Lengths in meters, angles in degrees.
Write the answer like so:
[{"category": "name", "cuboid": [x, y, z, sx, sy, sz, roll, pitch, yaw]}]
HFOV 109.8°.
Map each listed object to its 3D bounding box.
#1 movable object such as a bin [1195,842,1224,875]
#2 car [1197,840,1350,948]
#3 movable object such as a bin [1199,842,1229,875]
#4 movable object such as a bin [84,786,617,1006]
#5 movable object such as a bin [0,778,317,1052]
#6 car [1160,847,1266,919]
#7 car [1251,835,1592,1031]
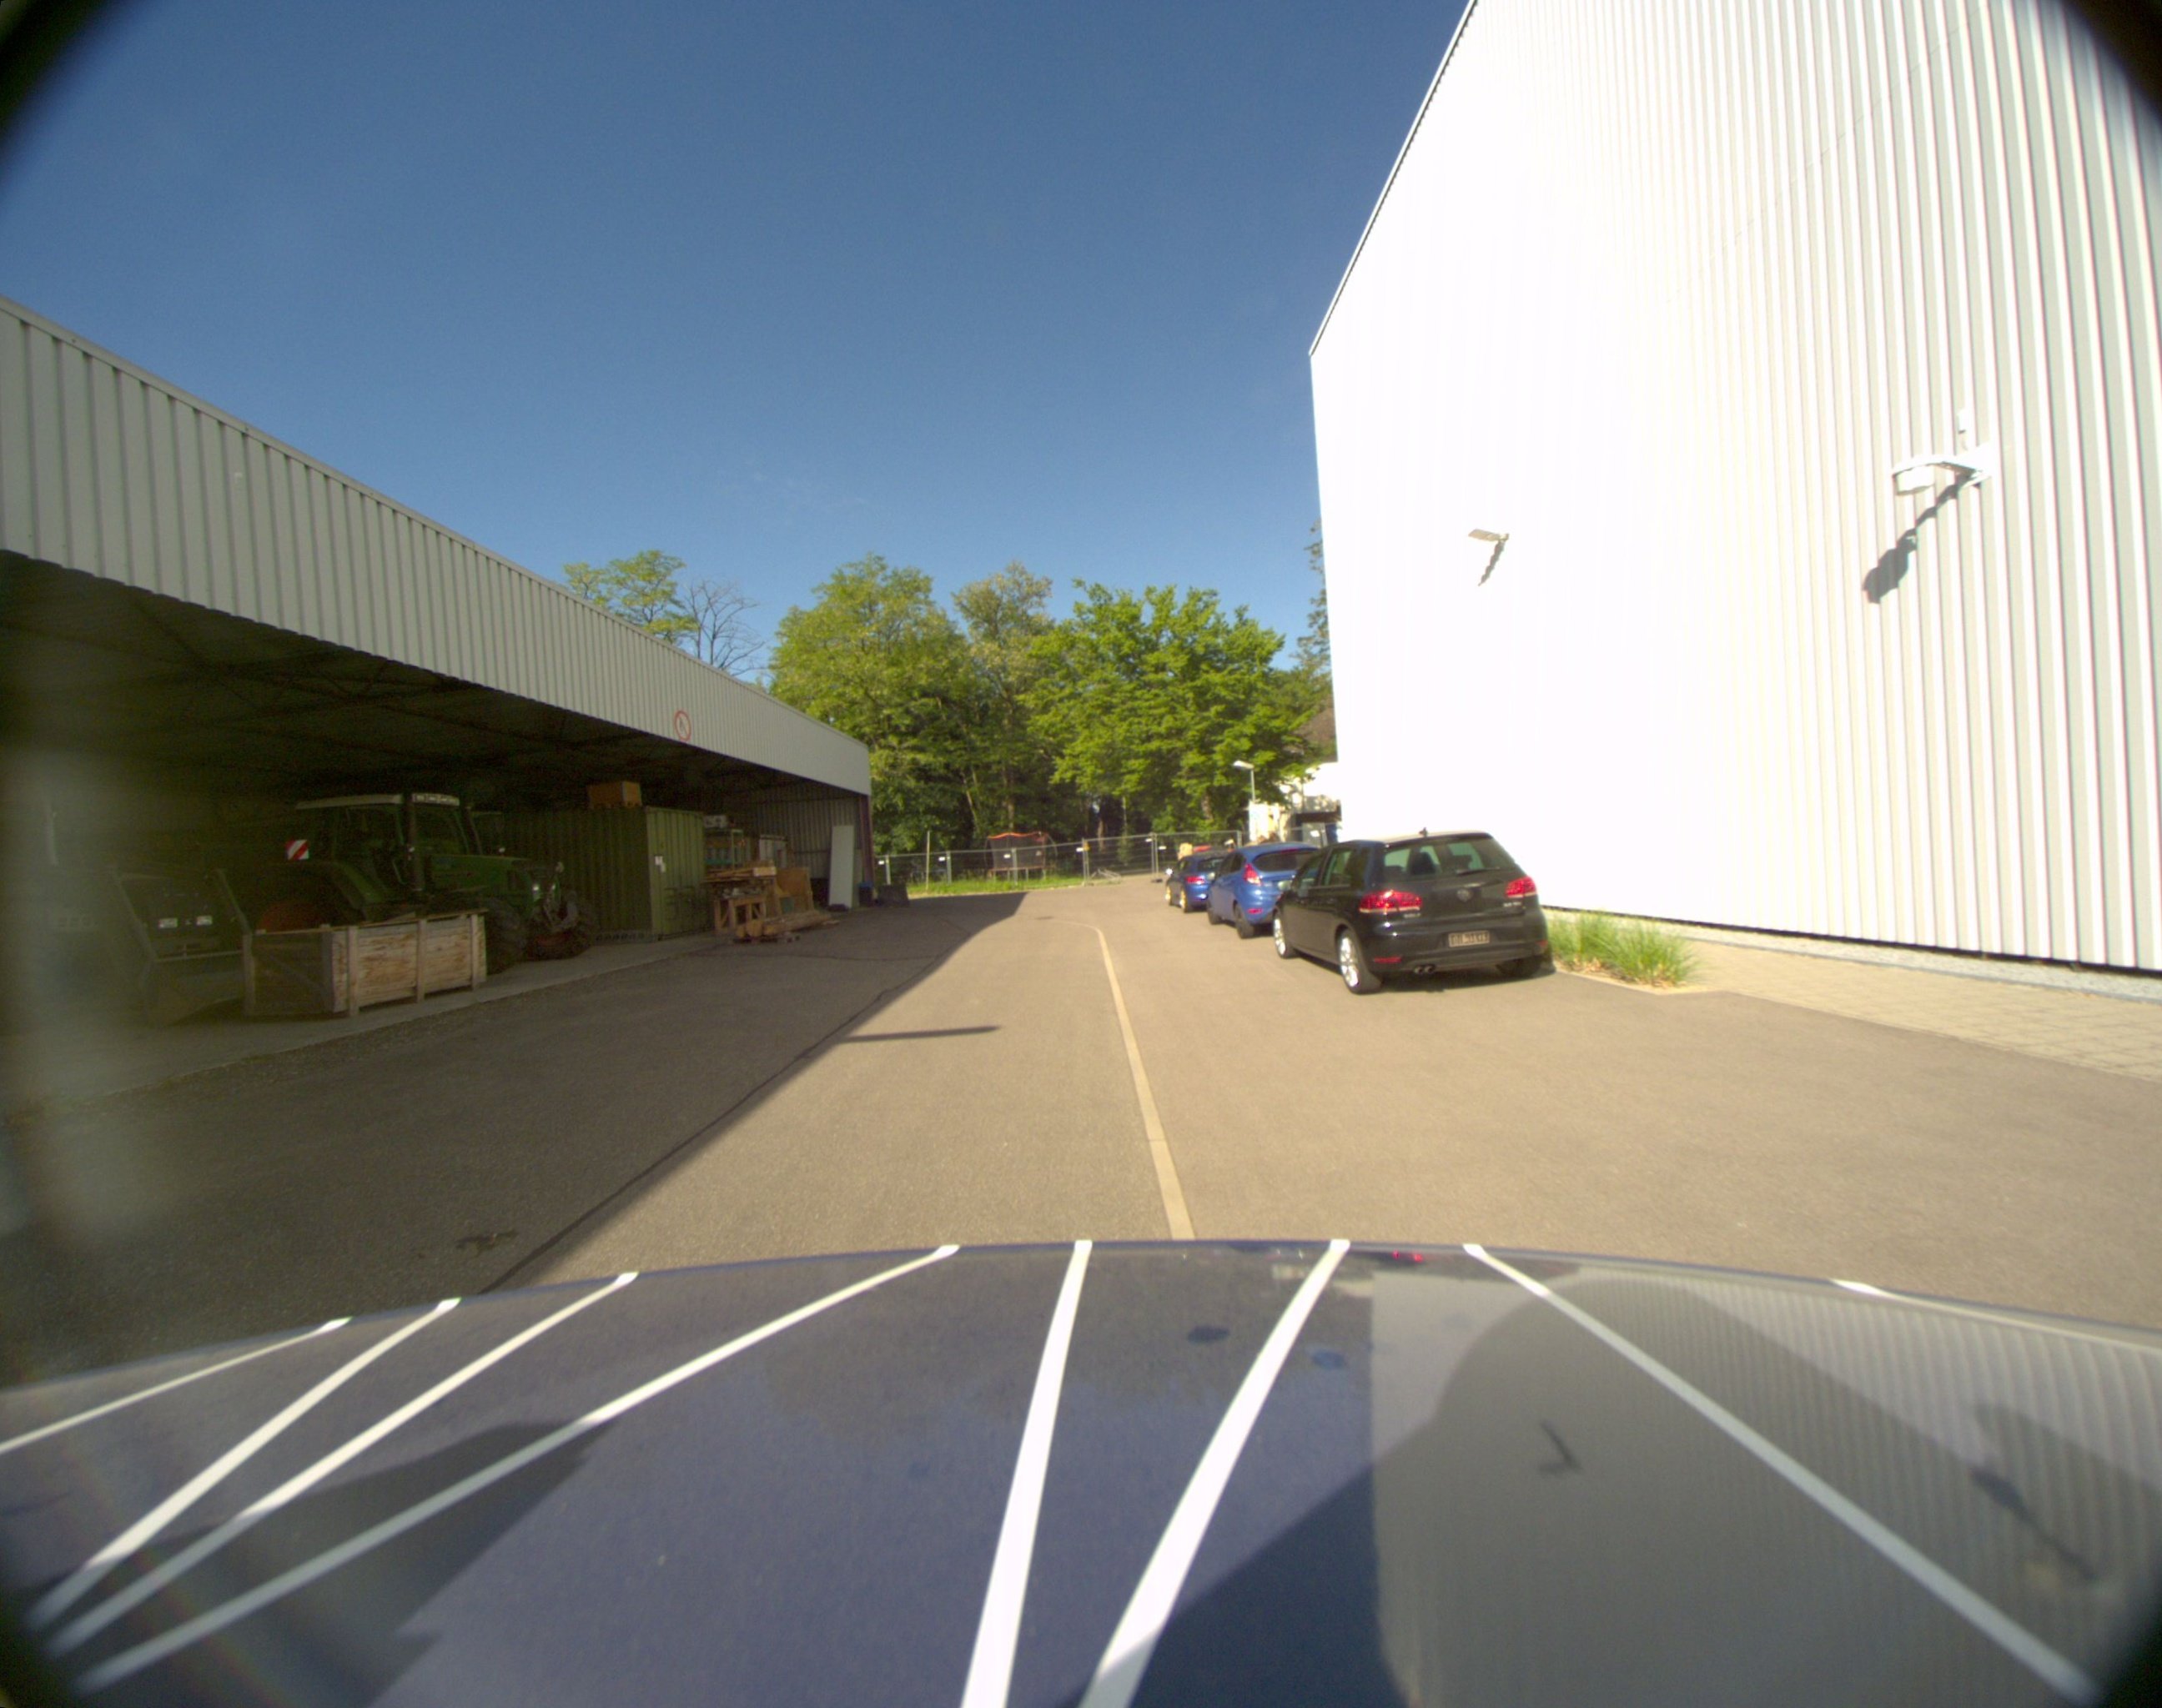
[{"category": "movable object such as a bin", "cuboid": [6.031, 0.214, 35.773, 1.141, 1.469, 1.280, -2, 0, 1]}, {"category": "car", "cuboid": [3.158, 0.604, 13.154, 1.552, 1.479, 3.522, -5, 0, -2]}, {"category": "movable object such as a bin", "cuboid": [6.012, 0.215, 34.409, 1.141, 1.426, 1.289, -2, 0, 1]}, {"category": "movable object such as a bin", "cuboid": [-11.448, 0.610, 12.422, 5.848, 2.908, 2.820, -3, 0, 1]}, {"category": "movable object such as a bin", "cuboid": [-12.799, 0.733, 9.150, 4.537, 2.814, 2.497, -3, 0, 1]}, {"category": "car", "cuboid": [3.114, 0.654, 18.665, 1.716, 1.440, 3.798, -5, 0, -2]}, {"category": "car", "cuboid": [3.294, 0.661, 8.436, 1.761, 1.437, 4.315, -6, 0, 1]}]
